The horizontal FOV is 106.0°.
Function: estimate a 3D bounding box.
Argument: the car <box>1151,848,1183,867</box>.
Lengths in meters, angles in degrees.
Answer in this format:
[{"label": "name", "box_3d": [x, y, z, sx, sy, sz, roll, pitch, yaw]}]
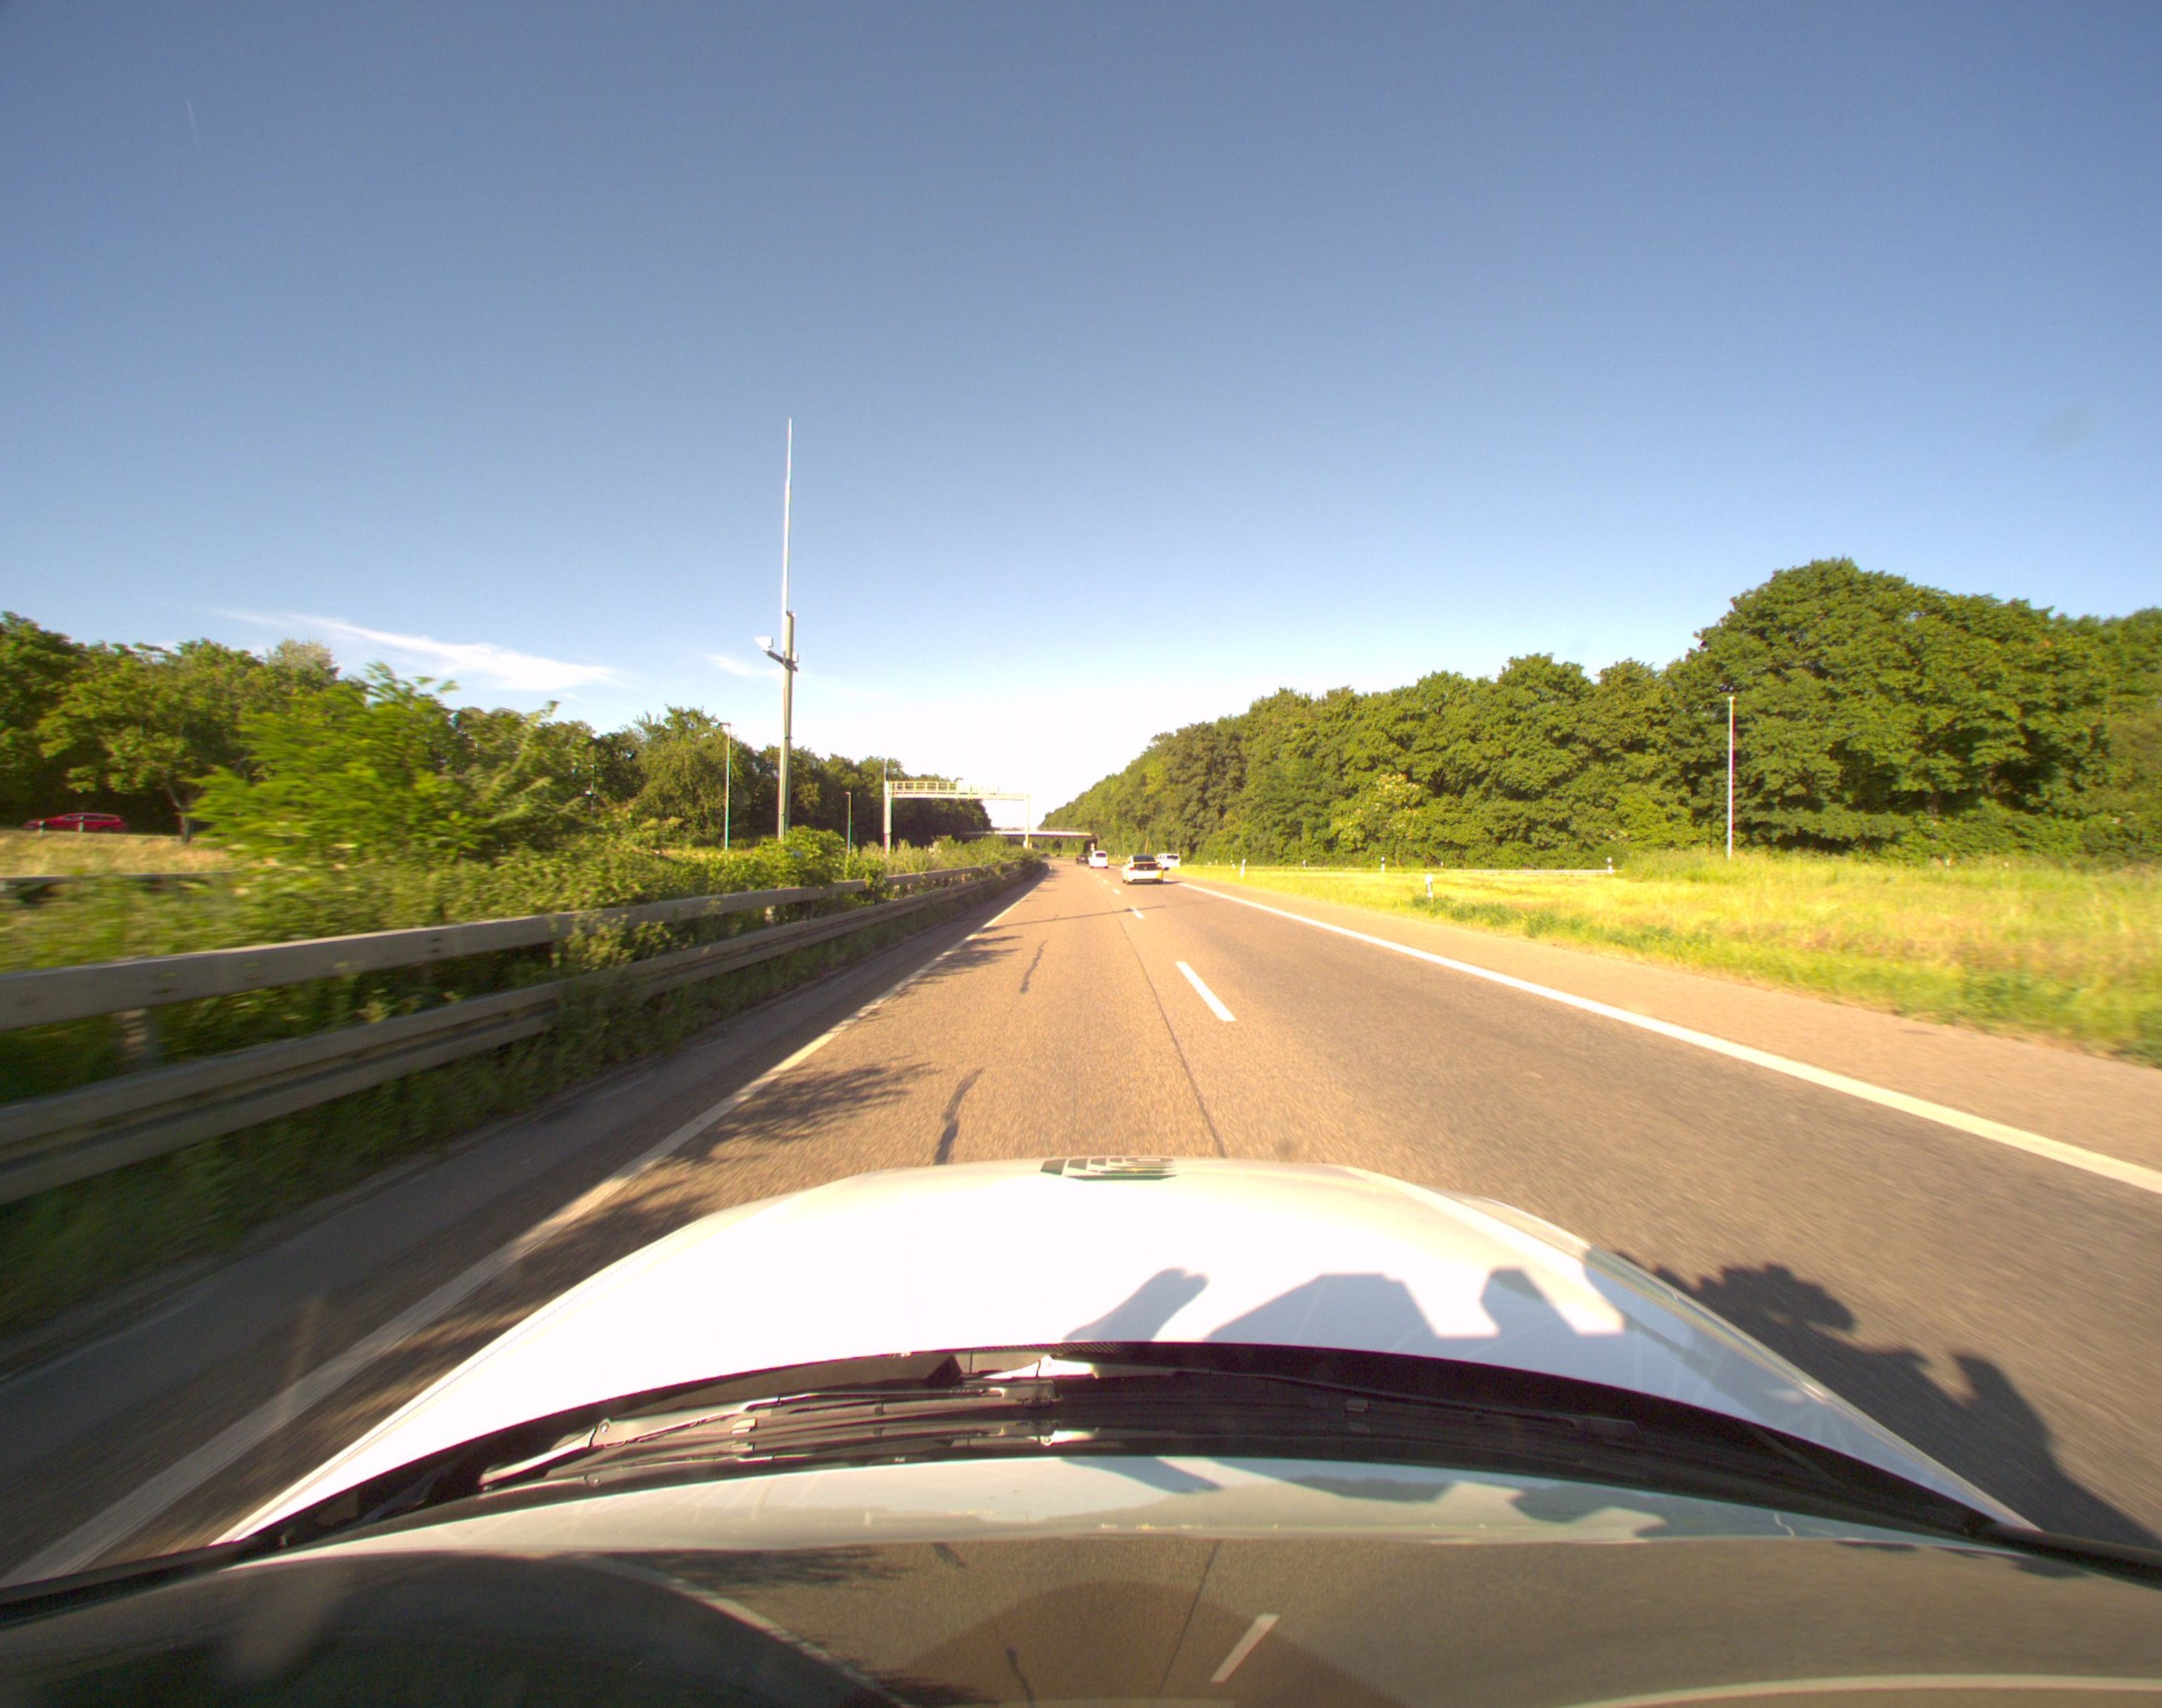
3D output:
[{"label": "car", "box_3d": [8.569, 0.335, 81.440, 1.901, 1.824, 3.978, -1, 0, -16]}]

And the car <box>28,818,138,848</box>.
[{"label": "car", "box_3d": [-72.464, -1.506, 59.272, 1.975, 2.013, 4.968, 0, 0, 41]}]

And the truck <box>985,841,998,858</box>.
[{"label": "truck", "box_3d": [-21.640, -0.998, 196.765, 2.733, 4.027, 6.170, 1, 0, -4]}]

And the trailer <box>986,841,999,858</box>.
[{"label": "trailer", "box_3d": [-22.067, -1.007, 203.264, 2.733, 4.027, 14.054, 1, 0, -4]}]

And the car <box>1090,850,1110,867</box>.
[{"label": "car", "box_3d": [1.969, 0.505, 85.166, 1.892, 1.767, 3.997, -1, -1, -2]}]

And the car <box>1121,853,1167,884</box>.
[{"label": "car", "box_3d": [3.110, 0.686, 41.128, 1.892, 1.471, 3.997, -1, 0, -2]}]

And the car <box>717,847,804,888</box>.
[{"label": "car", "box_3d": [-12.879, 0.502, 32.976, 1.834, 1.561, 4.002, 0, 0, 2]}]

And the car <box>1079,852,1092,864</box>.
[{"label": "car", "box_3d": [0.657, 0.540, 121.188, 1.892, 1.767, 3.998, -1, 0, -1]}]
